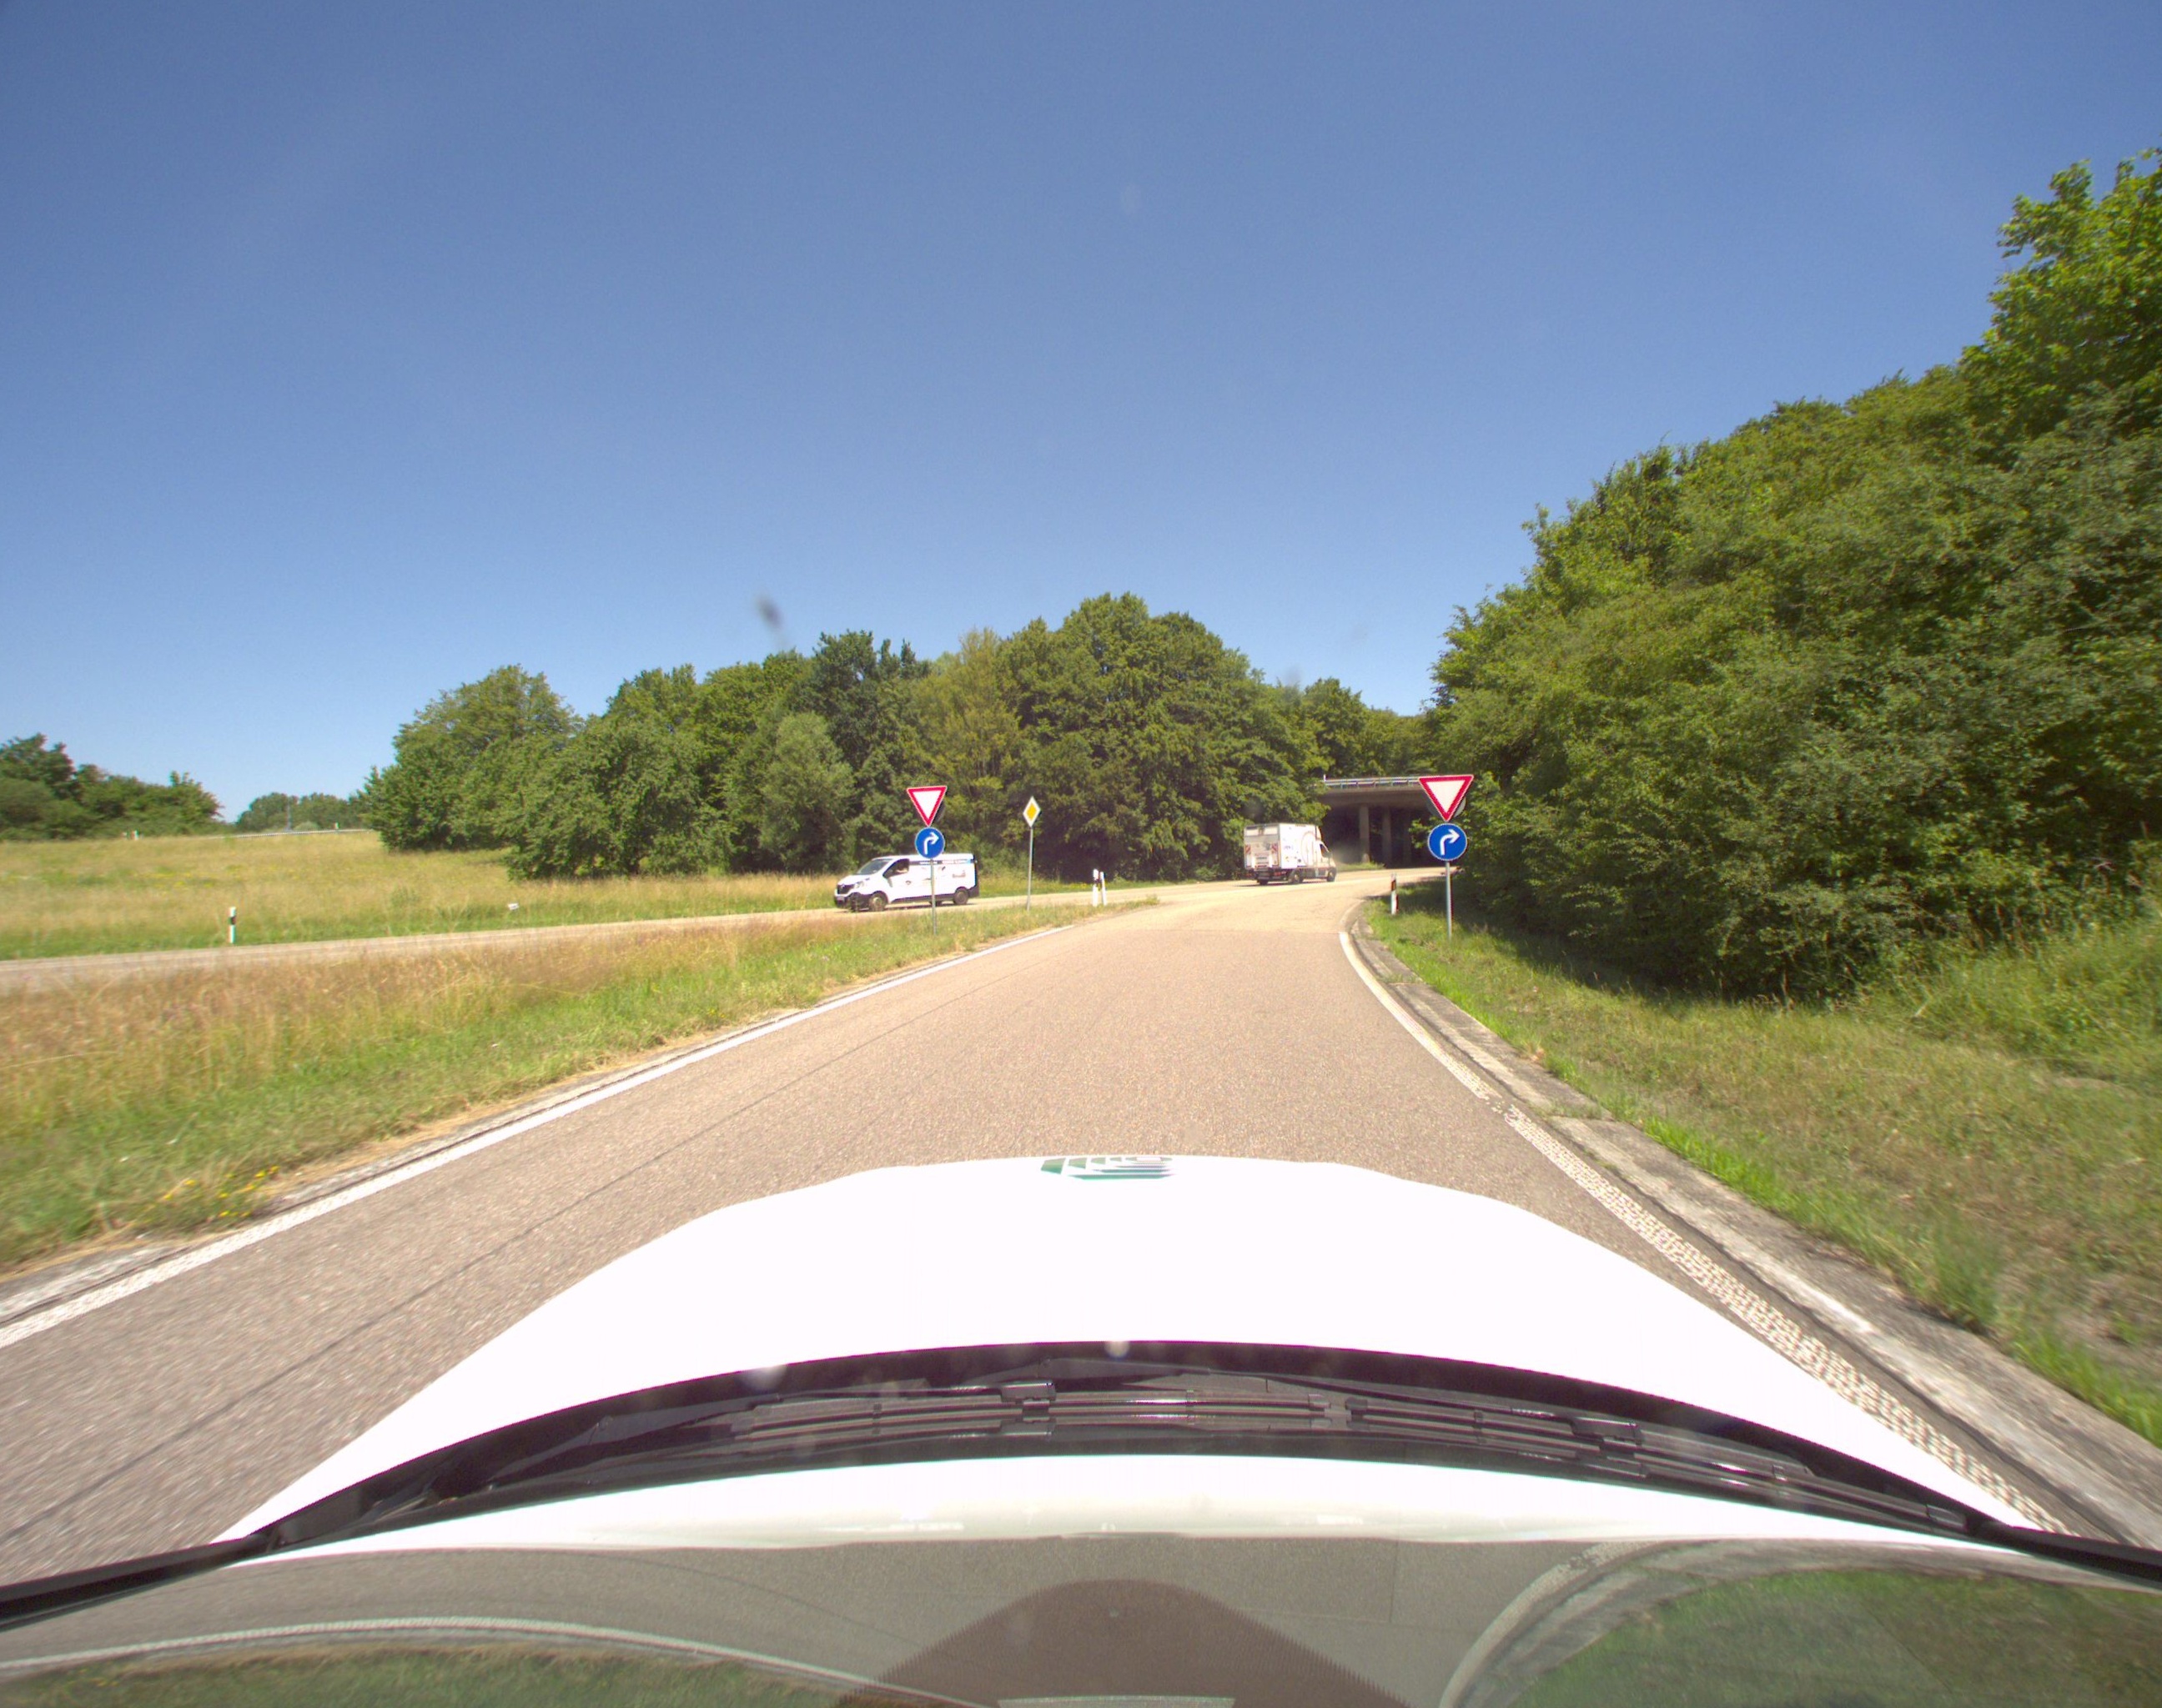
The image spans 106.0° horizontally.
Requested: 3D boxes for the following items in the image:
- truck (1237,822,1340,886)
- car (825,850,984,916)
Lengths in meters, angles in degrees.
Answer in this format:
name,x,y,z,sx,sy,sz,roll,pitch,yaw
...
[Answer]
name,x,y,z,sx,sy,sz,roll,pitch,yaw
truck,10.440,-0.017,40.707,2.220,2.985,5.929,-3,-1,45
car,-6.310,0.980,29.732,5.426,1.960,1.891,-4,0,-45
